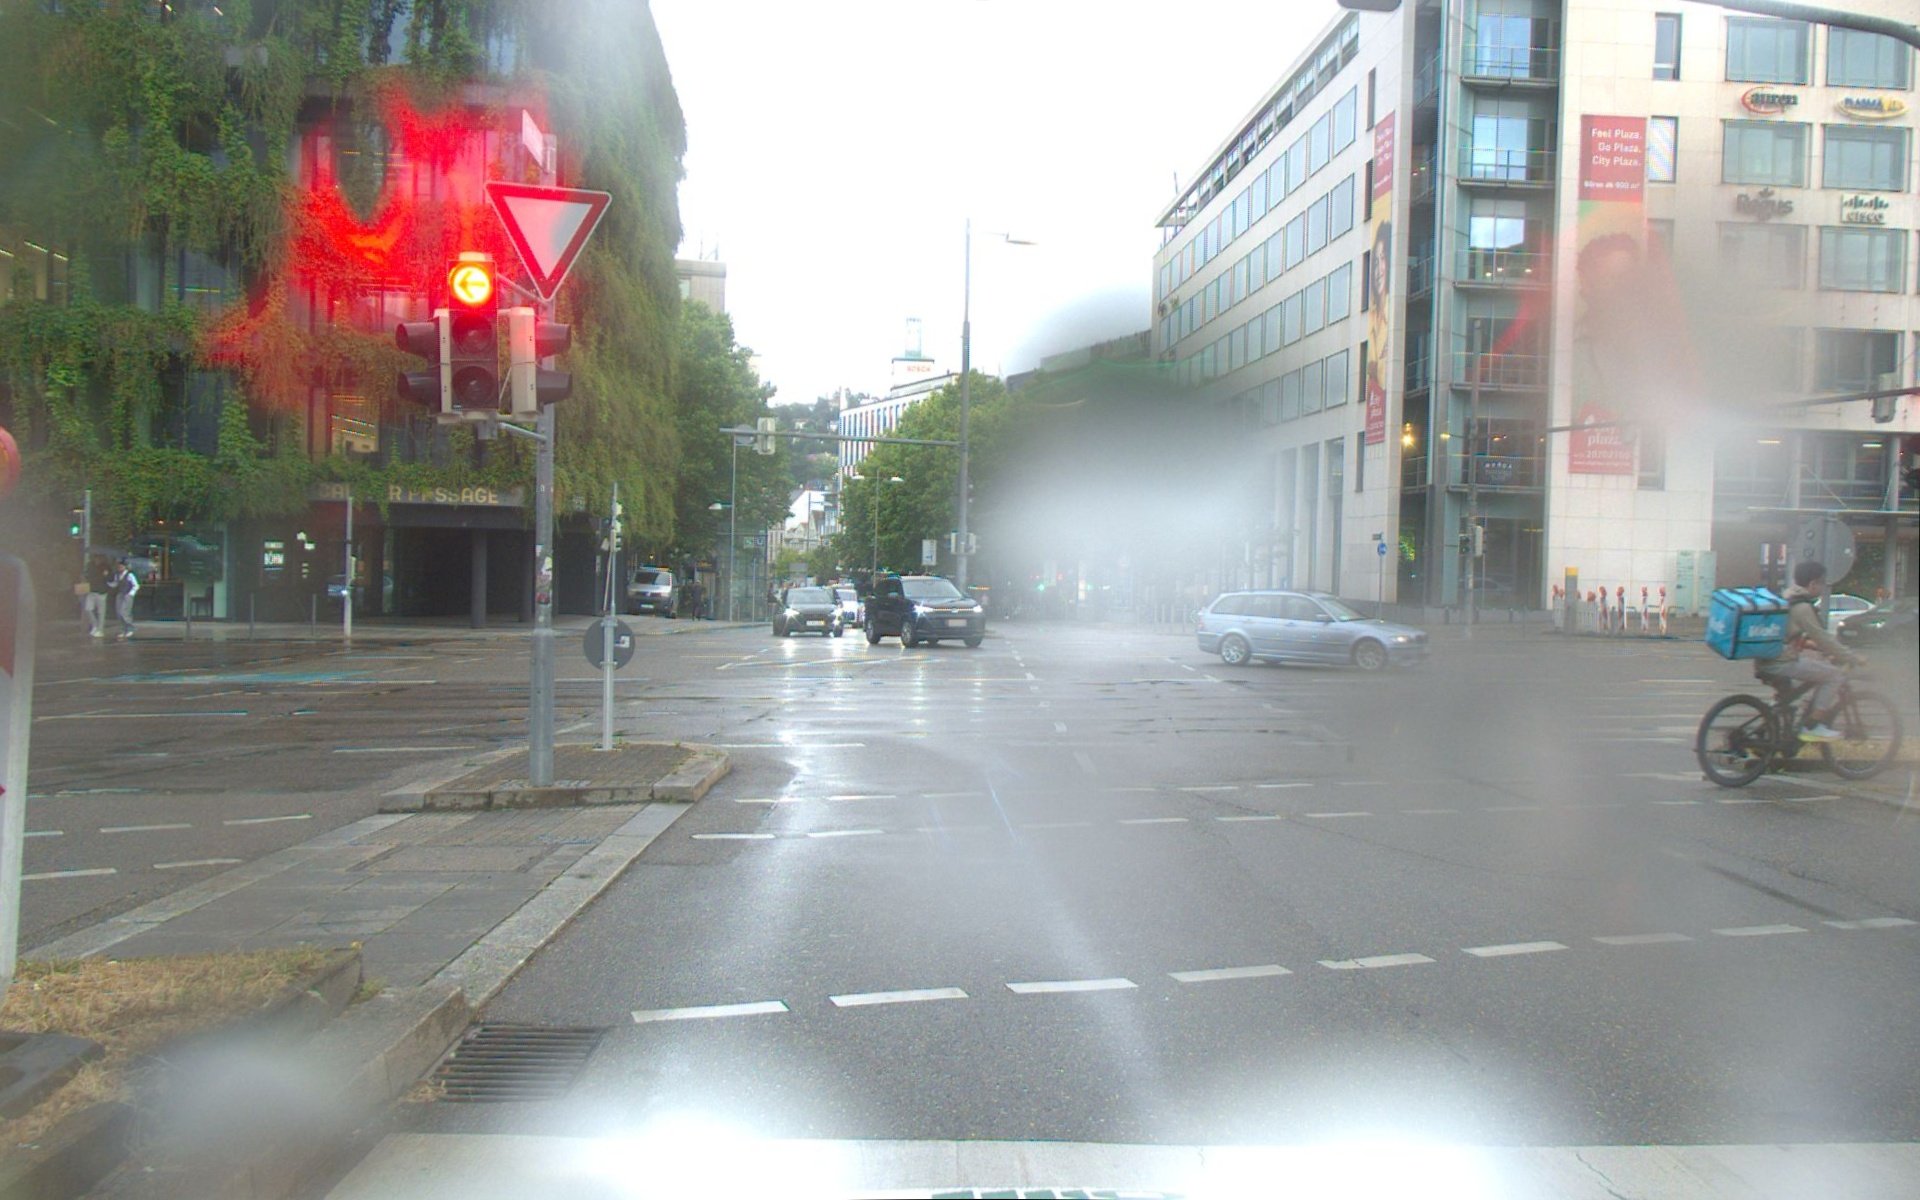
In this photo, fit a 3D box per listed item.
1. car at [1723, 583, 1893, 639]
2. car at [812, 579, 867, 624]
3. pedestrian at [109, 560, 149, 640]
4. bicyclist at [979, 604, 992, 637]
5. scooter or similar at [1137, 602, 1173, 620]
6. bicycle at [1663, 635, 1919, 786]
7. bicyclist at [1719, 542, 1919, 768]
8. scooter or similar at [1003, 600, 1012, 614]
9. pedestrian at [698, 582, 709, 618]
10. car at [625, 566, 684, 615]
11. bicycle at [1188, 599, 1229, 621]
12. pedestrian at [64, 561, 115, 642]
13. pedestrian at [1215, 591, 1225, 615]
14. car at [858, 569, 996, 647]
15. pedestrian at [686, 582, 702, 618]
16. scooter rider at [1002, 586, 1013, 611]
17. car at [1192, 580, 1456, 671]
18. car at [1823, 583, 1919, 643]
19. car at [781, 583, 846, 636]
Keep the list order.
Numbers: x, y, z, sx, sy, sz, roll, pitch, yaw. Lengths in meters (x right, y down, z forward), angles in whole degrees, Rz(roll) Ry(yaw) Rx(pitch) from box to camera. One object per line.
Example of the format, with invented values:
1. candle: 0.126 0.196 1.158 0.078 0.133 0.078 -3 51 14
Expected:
1. car: 25.411 0.315 49.586 4.378 1.626 1.992 0 0 -16
2. car: -5.217 0.062 71.026 2.133 1.855 4.637 1 0 -7
3. pedestrian: -18.803 0.003 37.434 0.731 1.788 0.969 0 0 -24
4. bicyclist: 1.569 1.257 101.782 0.775 2.009 1.114 1 0 -2
5. scooter or similar: 9.451 0.538 80.181 1.720 0.894 0.486 0 0 -20
6. bicycle: 6.811 0.857 13.300 2.112 1.122 0.844 0 0 -18
7. bicyclist: 6.932 0.420 13.302 1.275 1.733 0.843 0 0 -19
8. scooter or similar: 3.498 0.535 120.796 0.545 1.024 1.823 0 0 -2
9. pedestrian: -11.100 0.014 71.496 0.428 1.550 0.547 1 0 -5
10. car: -12.526 -0.387 68.112 1.955 1.928 4.460 1 0 -5
11. bicycle: 10.962 0.456 72.906 1.757 0.950 0.475 1 0 2
12. pedestrian: -19.564 0.032 37.207 0.923 1.788 1.163 0 0 -24
13. pedestrian: 12.928 0.157 82.202 0.348 1.194 0.411 0 0 -27
14. car: -0.846 0.125 39.101 1.936 1.684 4.337 -1 2 -21
15. pedestrian: -11.488 0.012 71.462 0.595 1.550 0.587 1 0 -5
16. scooter rider: 3.470 -0.101 120.743 0.747 1.805 0.796 0 0 -1
17. car: 6.693 0.418 30.668 4.381 1.512 1.990 1 2 40
18. car: 26.782 0.353 46.329 4.373 1.626 1.994 1 0 -13
19. car: -4.331 0.245 49.431 1.819 1.473 4.618 0 1 -4
